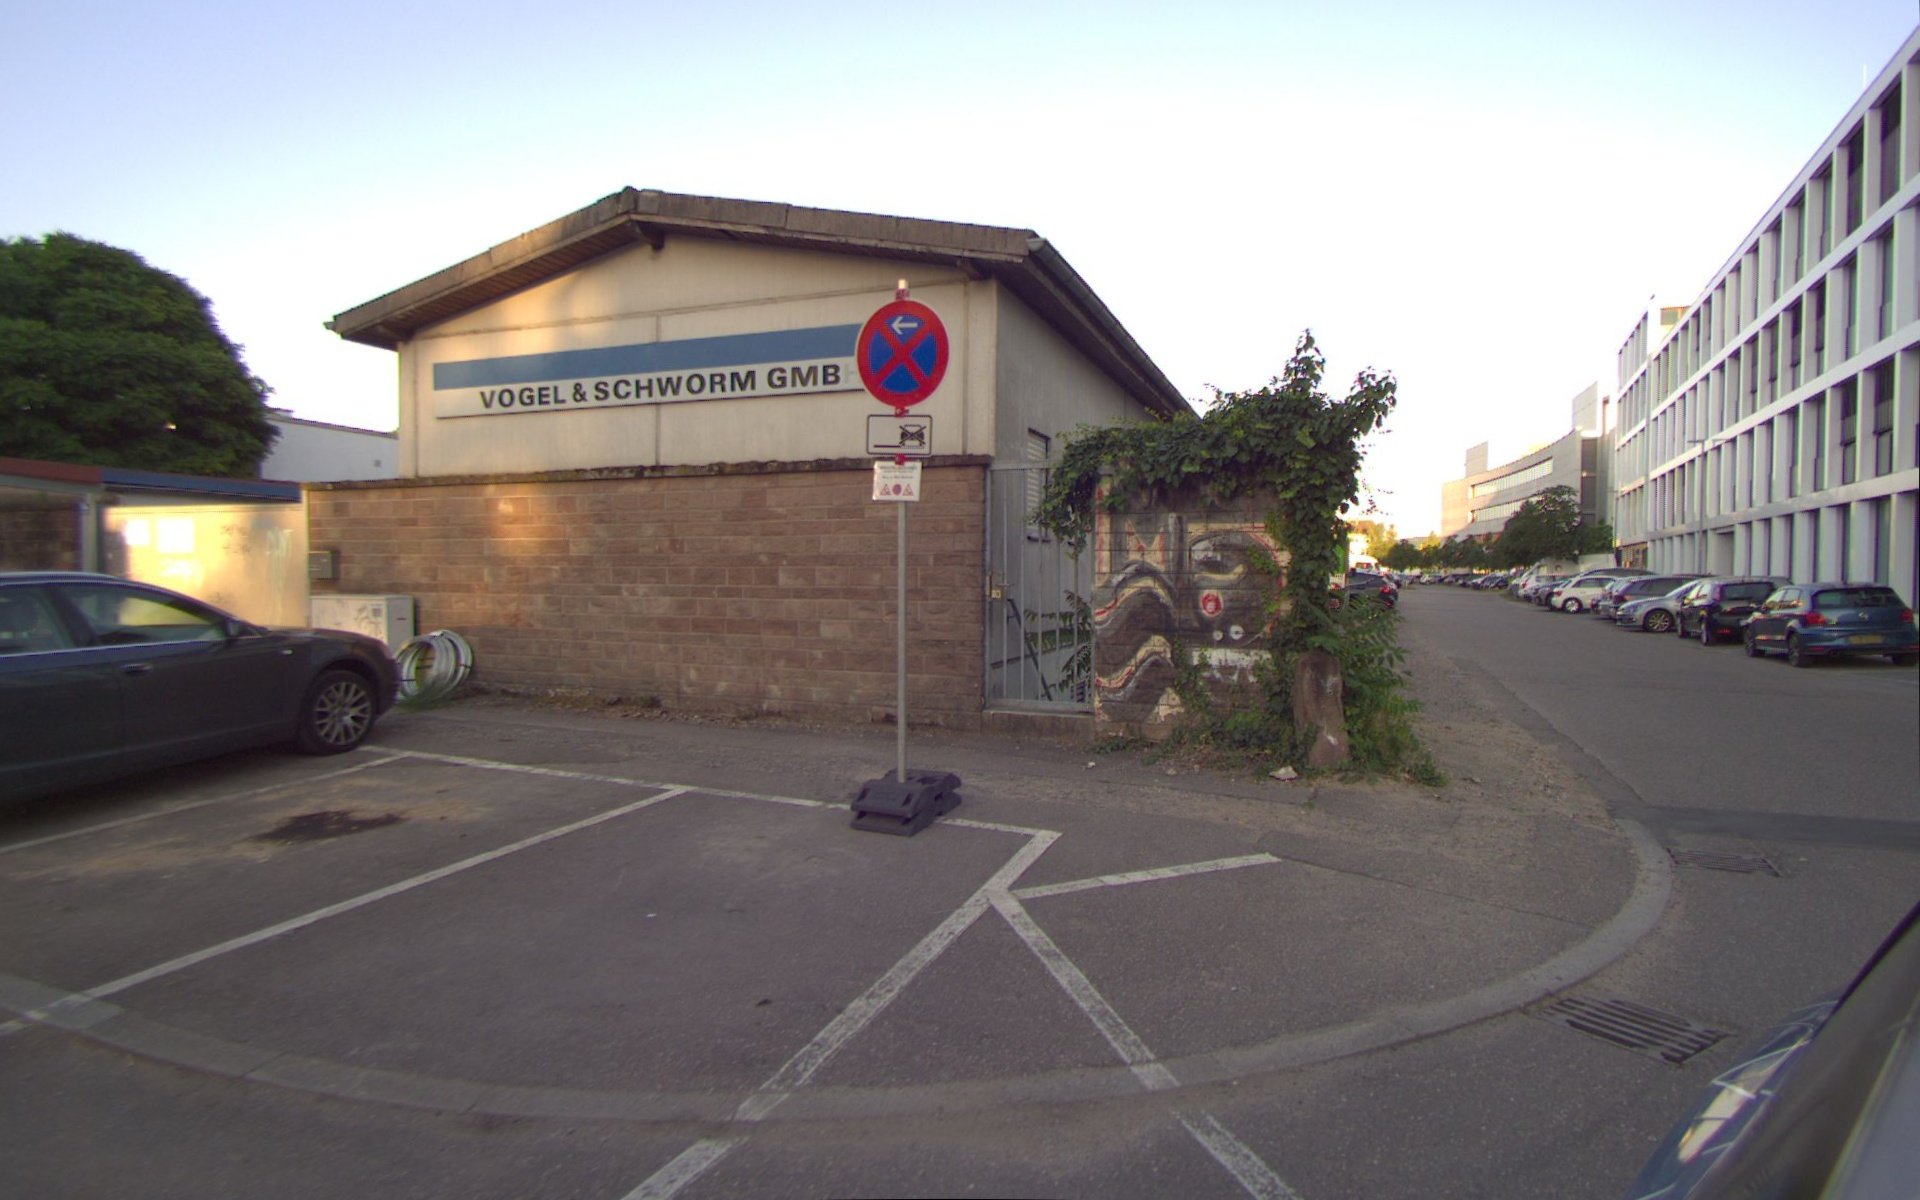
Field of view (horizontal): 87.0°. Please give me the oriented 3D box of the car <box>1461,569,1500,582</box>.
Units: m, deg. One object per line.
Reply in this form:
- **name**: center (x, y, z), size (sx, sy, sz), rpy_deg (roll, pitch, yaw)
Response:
- **car**: center (59.717, -2.845, 116.112), size (3.766, 1.377, 1.788), rpy_deg (-1, 1, 20)

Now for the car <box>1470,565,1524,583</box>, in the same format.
- **car**: center (58.980, -2.841, 111.286), size (5.021, 1.850, 1.877), rpy_deg (-1, 1, 20)

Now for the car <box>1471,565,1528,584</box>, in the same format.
- **car**: center (56.823, -2.714, 106.740), size (5.021, 1.904, 1.877), rpy_deg (-1, 1, 20)

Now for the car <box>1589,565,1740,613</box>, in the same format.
- **car**: center (23.618, -0.375, 34.102), size (3.939, 1.530, 1.779), rpy_deg (0, 1, 28)

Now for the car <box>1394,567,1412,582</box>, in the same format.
- **car**: center (45.893, -2.656, 104.902), size (1.663, 1.481, 4.334), rpy_deg (2, 2, 23)

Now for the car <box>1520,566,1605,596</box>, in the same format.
- **car**: center (31.749, -1.009, 53.428), size (3.682, 1.514, 1.692), rpy_deg (0, 1, 26)

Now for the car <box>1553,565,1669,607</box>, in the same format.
- **car**: center (24.872, -0.523, 38.807), size (3.647, 1.530, 1.679), rpy_deg (0, 1, 30)

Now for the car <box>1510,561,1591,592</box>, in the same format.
- **car**: center (36.285, -1.455, 62.291), size (4.073, 1.840, 1.803), rpy_deg (0, 1, 23)

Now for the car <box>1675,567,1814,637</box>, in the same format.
- **car**: center (18.452, -0.010, 24.009), size (1.636, 1.457, 4.167), rpy_deg (-3, 0, 25)

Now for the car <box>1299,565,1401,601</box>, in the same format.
- **car**: center (16.490, -0.713, 42.783), size (3.955, 1.463, 1.812), rpy_deg (0, 2, 25)

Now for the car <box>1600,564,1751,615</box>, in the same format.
- **car**: center (22.379, -0.336, 31.805), size (3.630, 1.530, 1.672), rpy_deg (0, 1, 27)

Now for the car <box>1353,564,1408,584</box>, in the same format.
- **car**: center (34.288, -2.124, 82.609), size (4.023, 1.425, 1.882), rpy_deg (3, 2, 23)

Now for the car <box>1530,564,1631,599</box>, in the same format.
- **car**: center (28.515, -0.850, 46.630), size (3.753, 1.541, 1.679), rpy_deg (0, 1, 25)

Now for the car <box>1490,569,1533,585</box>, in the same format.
- **car**: center (54.145, -2.259, 99.440), size (3.619, 1.567, 1.711), rpy_deg (-1, 1, 26)

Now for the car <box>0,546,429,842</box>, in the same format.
- **car**: center (-5.824, 0.461, 6.305), size (1.805, 1.549, 4.712), rpy_deg (1, 3, 13)

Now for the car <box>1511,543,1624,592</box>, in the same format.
- **car**: center (34.256, -1.789, 57.260), size (5.347, 2.666, 2.059), rpy_deg (0, 1, 28)

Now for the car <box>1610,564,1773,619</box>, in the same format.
- **car**: center (21.383, -0.239, 29.762), size (3.630, 1.530, 1.672), rpy_deg (0, 1, 27)

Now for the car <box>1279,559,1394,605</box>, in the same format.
- **car**: center (14.176, -0.673, 38.081), size (3.952, 1.629, 1.924), rpy_deg (0, 1, 24)

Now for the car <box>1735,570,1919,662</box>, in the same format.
- **car**: center (15.923, 0.224, 18.570), size (1.634, 1.457, 4.153), rpy_deg (-3, 0, 23)

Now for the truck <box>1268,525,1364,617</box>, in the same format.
- **truck**: center (9.865, -0.761, 27.749), size (2.081, 2.228, 5.665), rpy_deg (2, 1, 23)

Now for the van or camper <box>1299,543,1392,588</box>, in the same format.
- **van or camper**: center (26.103, -2.378, 68.593), size (5.735, 2.899, 2.468), rpy_deg (2, 3, 24)

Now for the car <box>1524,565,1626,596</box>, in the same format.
- **car**: center (30.913, -0.972, 51.036), size (4.281, 1.514, 1.777), rpy_deg (0, 1, 28)

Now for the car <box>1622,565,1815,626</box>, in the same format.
- **car**: center (20.264, -0.128, 27.244), size (3.901, 1.530, 1.672), rpy_deg (0, 1, 28)

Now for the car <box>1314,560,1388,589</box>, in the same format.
- **car**: center (25.355, -1.678, 65.668), size (4.218, 1.762, 1.948), rpy_deg (3, 3, 29)

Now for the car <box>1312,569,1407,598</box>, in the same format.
- **car**: center (19.599, -0.816, 49.694), size (4.177, 1.384, 1.805), rpy_deg (0, 1, 28)

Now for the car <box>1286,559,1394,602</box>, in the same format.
- **car**: center (15.183, -0.764, 40.550), size (3.948, 1.639, 1.815), rpy_deg (0, 1, 21)

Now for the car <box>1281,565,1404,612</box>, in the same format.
- **car**: center (12.645, -0.392, 33.505), size (3.729, 1.462, 1.831), rpy_deg (0, 2, 24)

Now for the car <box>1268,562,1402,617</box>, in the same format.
- **car**: center (11.607, -0.343, 31.325), size (3.733, 1.554, 1.875), rpy_deg (0, 3, 26)

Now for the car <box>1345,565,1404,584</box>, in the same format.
- **car**: center (32.990, -2.039, 80.562), size (4.280, 1.349, 1.882), rpy_deg (2, 3, 23)

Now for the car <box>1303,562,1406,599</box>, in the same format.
- **car**: center (17.572, -0.870, 45.093), size (4.174, 1.521, 1.874), rpy_deg (0, 2, 26)

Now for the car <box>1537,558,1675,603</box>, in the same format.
- **car**: center (26.071, -0.769, 41.065), size (4.594, 1.727, 1.984), rpy_deg (0, 1, 30)

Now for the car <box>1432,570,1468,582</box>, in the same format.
- **car**: center (64.617, -3.164, 133.496), size (3.969, 1.365, 1.792), rpy_deg (-1, 1, 15)
